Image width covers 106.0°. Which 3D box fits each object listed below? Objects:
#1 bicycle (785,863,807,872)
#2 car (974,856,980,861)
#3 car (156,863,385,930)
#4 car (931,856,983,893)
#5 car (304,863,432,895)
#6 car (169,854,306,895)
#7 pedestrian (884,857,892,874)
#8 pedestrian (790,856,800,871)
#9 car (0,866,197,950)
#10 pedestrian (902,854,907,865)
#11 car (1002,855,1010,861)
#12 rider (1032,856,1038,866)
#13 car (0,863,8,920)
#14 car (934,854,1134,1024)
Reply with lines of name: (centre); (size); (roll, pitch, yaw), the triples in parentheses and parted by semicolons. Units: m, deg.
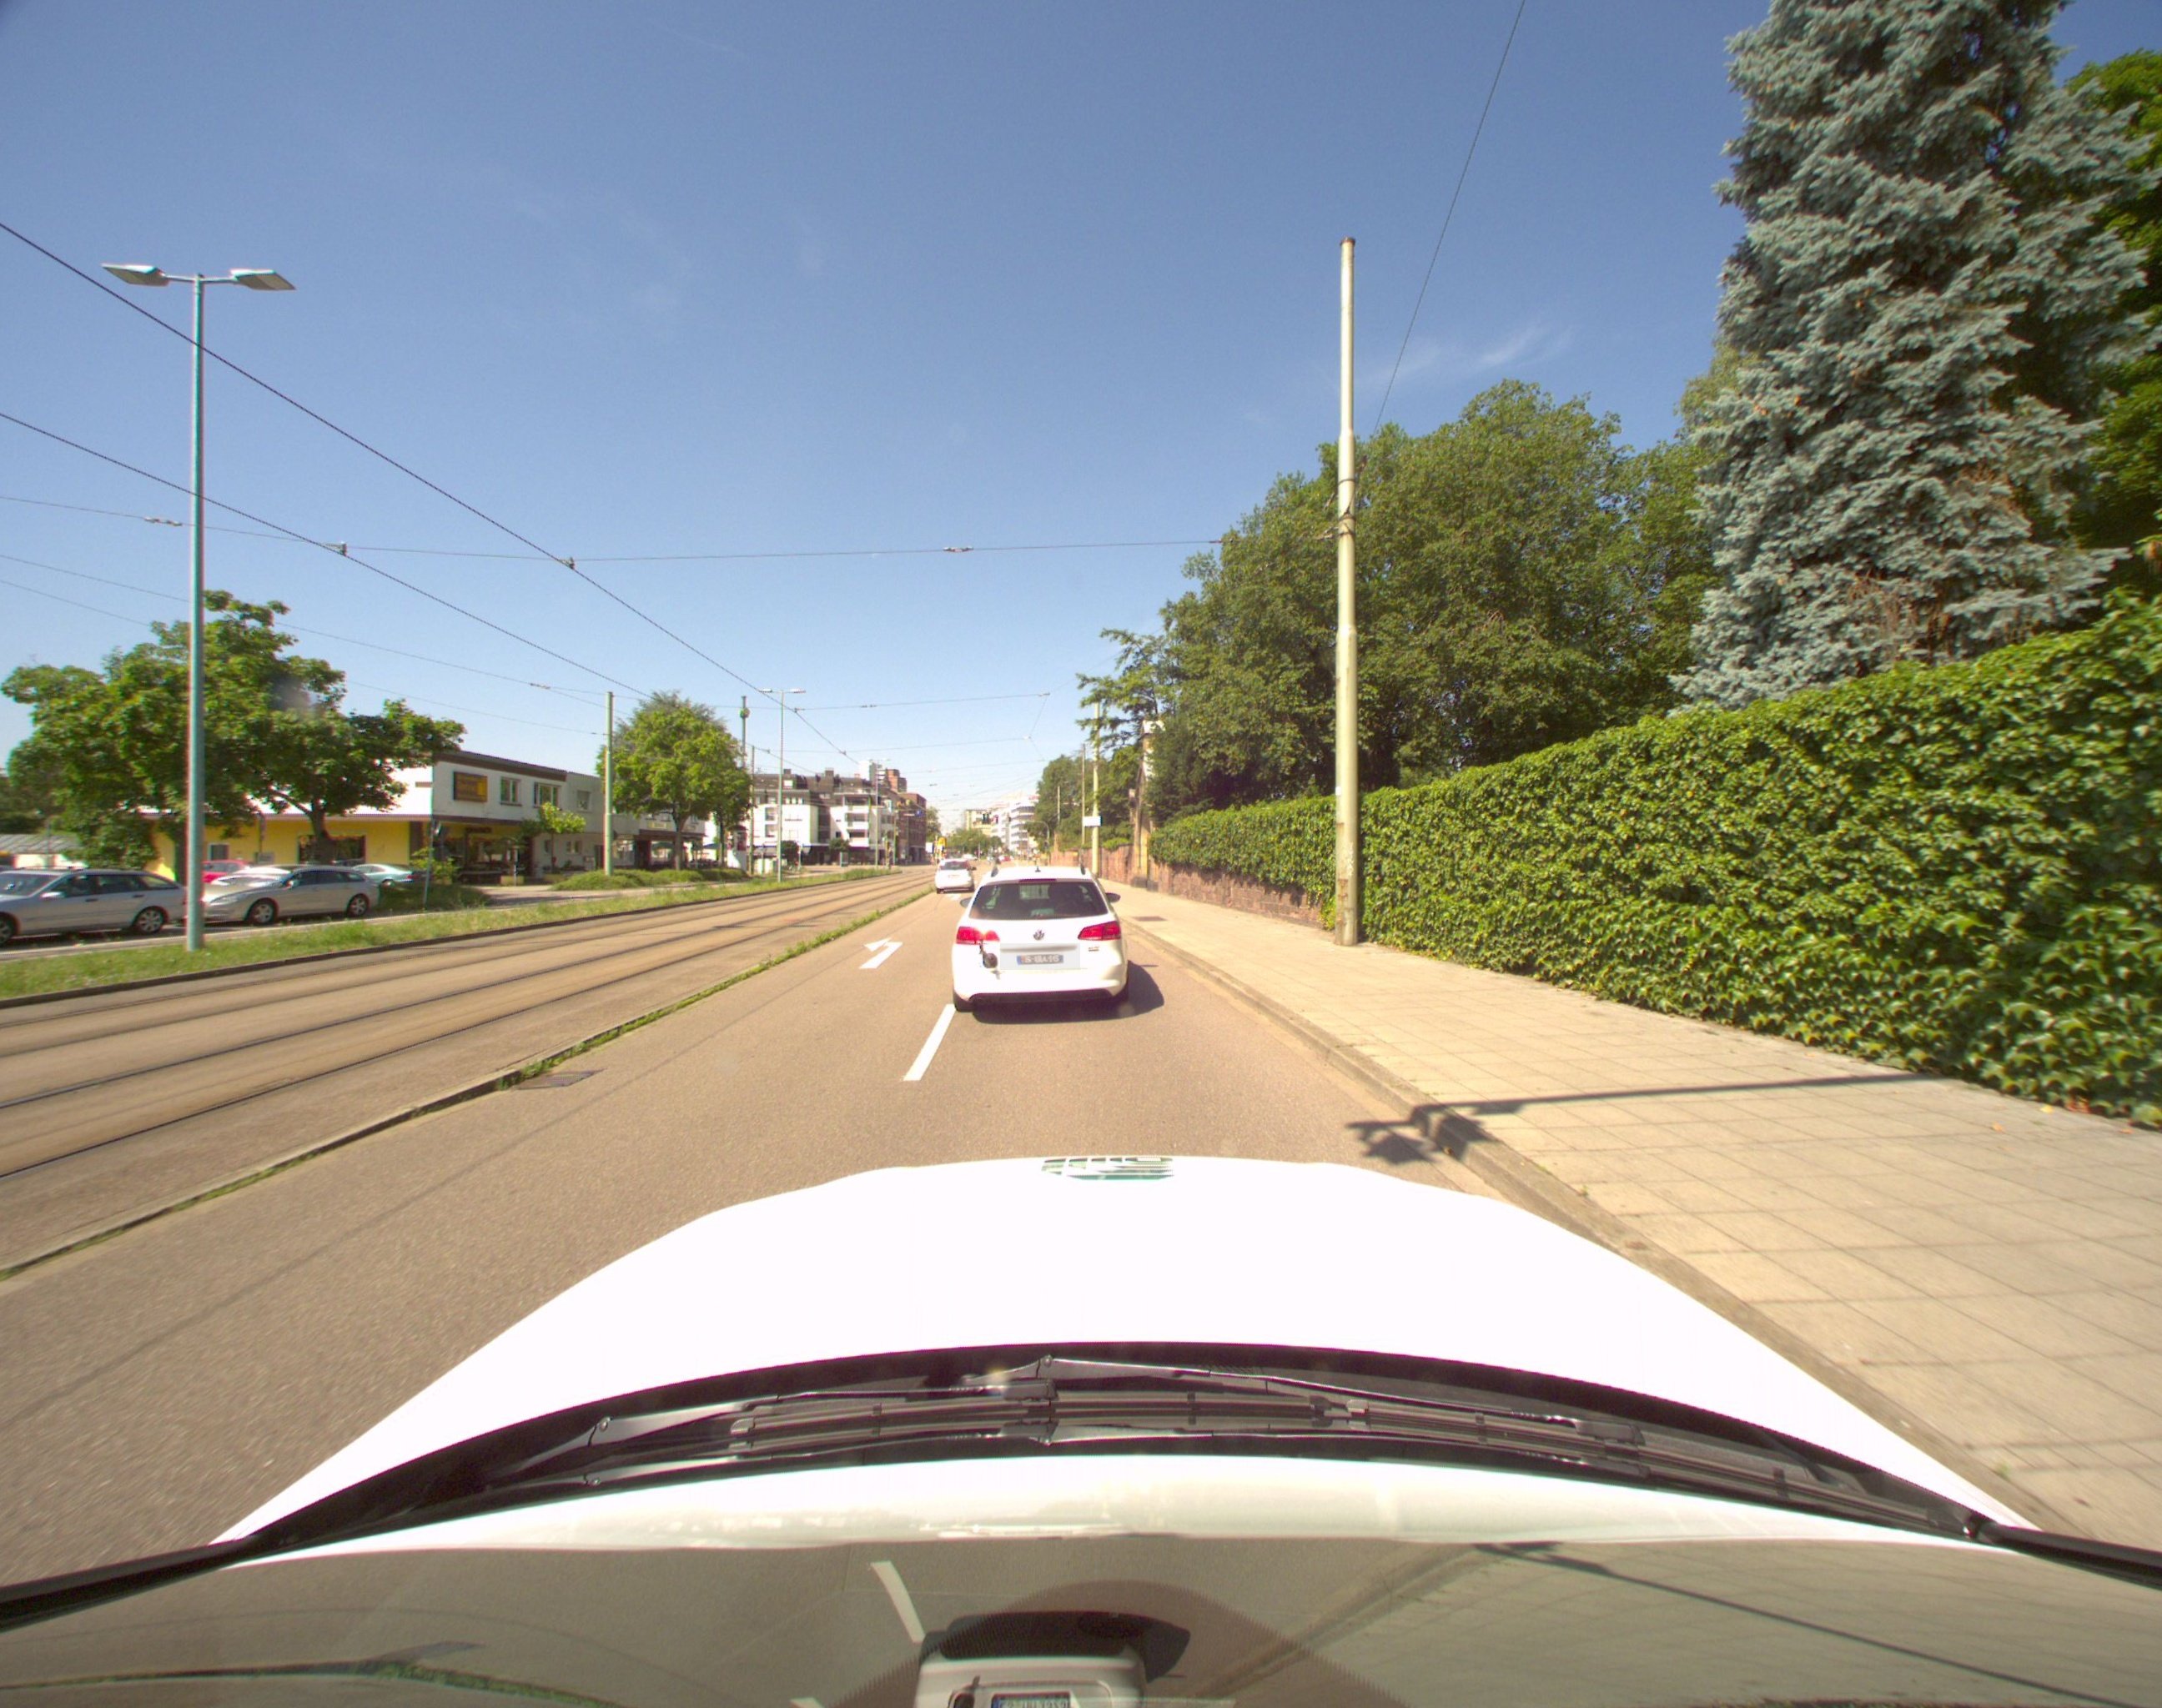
bicycle: (-29.680, 1.439, 84.885); (0.546, 0.921, 2.191); (-1, 0, 38)
car: (-30.424, 1.316, 237.952); (1.696, 1.591, 3.527); (-1, 0, -6)
car: (-21.144, 1.026, 21.588); (1.601, 1.490, 4.611); (2, 0, -4)
car: (-5.742, 0.919, 38.217); (1.724, 1.596, 4.012); (-1, 0, 1)
car: (-32.275, 1.106, 36.960); (4.140, 1.344, 1.694); (0, 0, -5)
car: (-37.752, 0.903, 36.520); (4.140, 1.735, 1.694); (0, 0, -5)
pedestrian: (-20.677, 1.223, 87.359); (0.827, 1.739, 0.928); (-1, 0, -13)
pedestrian: (-30.011, 0.987, 85.389); (0.559, 1.487, 0.821); (-1, 0, 38)
car: (-20.700, 1.031, 16.434); (1.290, 1.490, 4.342); (-1, 0, -5)
pedestrian: (-33.258, 1.077, 153.500); (0.937, 2.014, 0.987); (-1, 0, -11)
car: (-22.306, 1.241, 242.145); (1.994, 1.904, 3.985); (-1, 0, -11)
rider: (-7.712, 1.165, 137.137); (0.889, 1.728, 2.200); (-1, 0, -5)
car: (-31.547, 1.057, 21.423); (3.984, 1.563, 1.659); (-1, 0, -8)
car: (-0.447, 0.759, 9.197); (1.773, 1.490, 3.845); (-1, 0, -1)
